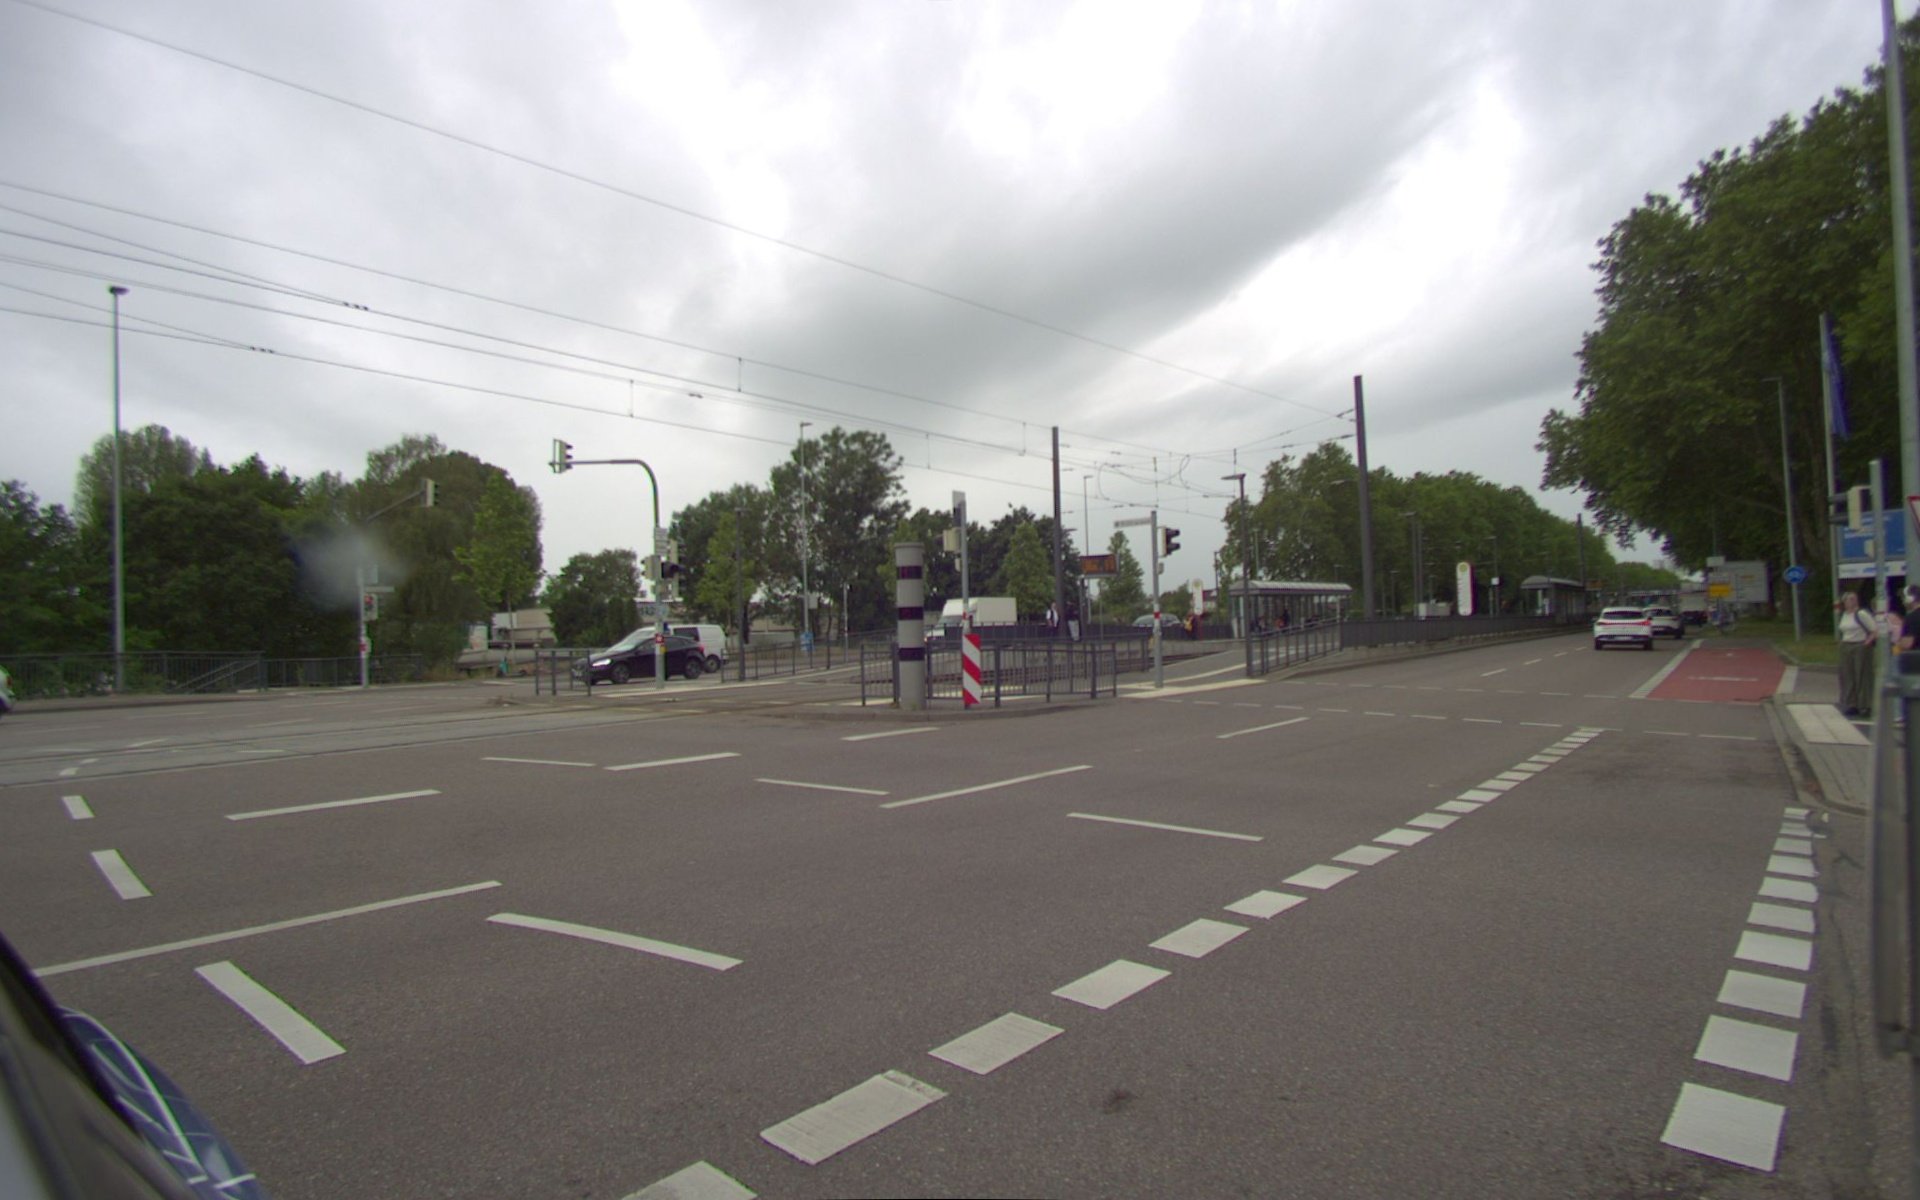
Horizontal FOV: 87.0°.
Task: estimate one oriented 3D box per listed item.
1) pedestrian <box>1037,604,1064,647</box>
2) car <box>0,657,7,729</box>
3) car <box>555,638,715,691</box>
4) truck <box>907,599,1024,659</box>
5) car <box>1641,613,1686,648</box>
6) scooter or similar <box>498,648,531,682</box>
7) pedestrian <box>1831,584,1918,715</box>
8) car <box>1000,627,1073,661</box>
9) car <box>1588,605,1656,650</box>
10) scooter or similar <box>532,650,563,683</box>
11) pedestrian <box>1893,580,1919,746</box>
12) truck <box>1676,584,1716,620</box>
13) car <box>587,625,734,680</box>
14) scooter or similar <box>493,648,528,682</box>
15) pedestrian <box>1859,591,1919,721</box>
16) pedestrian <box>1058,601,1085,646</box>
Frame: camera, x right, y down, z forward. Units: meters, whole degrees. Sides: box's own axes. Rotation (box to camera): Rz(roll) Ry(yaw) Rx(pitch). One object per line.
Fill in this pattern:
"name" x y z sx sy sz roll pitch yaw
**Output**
"pedestrian" 3.452 0.978 38.740 0.711 1.572 0.624 -5 -3 41
"car" -20.794 1.882 19.110 1.677 1.430 3.808 -4 -3 31
"car" -9.994 1.968 31.363 1.999 1.401 4.284 -5 -4 41
"truck" 0.369 1.554 54.486 2.825 2.946 6.459 -5 -4 38
"car" 35.819 1.511 51.592 1.793 1.597 4.096 0 0 33
"scooter or similar" -17.548 2.549 39.841 0.391 1.252 1.139 -2 -2 40
"pedestrian" 13.107 0.689 14.532 0.762 1.811 0.669 0 0 27
"car" 4.129 2.322 53.999 1.782 1.664 4.193 -5 -4 39
"car" 25.229 1.031 38.686 1.886 1.597 4.366 -1 -1 30
"scooter or similar" -16.552 2.656 40.580 1.032 1.224 0.375 -3 1 -45
"pedestrian" 10.642 0.692 10.875 0.653 1.778 0.689 3 -1 -27
"truck" 80.268 0.260 110.289 3.257 3.691 9.771 -1 -1 37
"car" -11.435 1.984 38.958 2.100 1.894 5.050 -5 -4 41
"scooter or similar" -17.442 2.522 39.268 1.137 1.252 0.478 0 -2 -45
"pedestrian" 12.856 0.749 13.846 0.766 1.725 0.666 -2 -1 44
"pedestrian" 4.466 0.932 40.654 0.788 1.755 0.578 -5 -3 42
